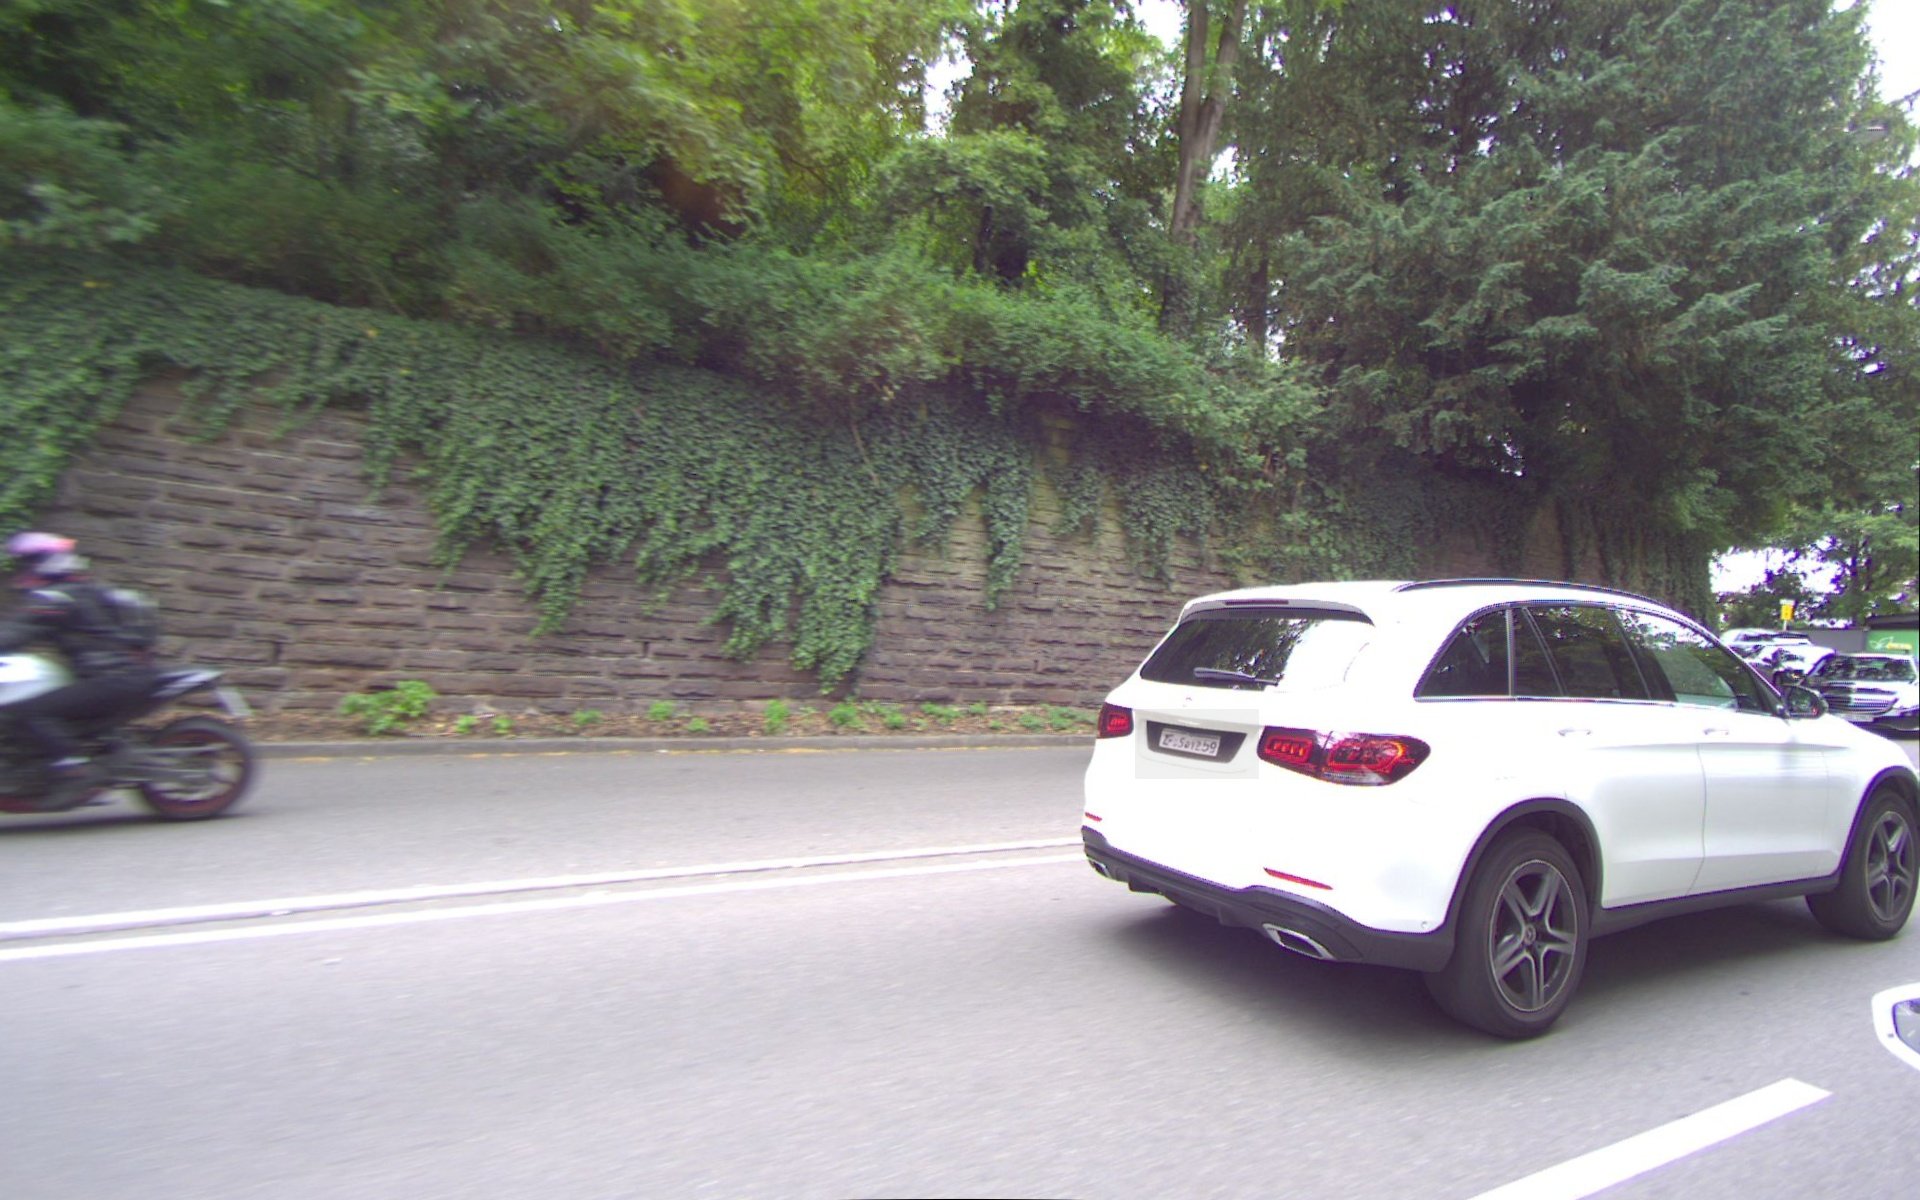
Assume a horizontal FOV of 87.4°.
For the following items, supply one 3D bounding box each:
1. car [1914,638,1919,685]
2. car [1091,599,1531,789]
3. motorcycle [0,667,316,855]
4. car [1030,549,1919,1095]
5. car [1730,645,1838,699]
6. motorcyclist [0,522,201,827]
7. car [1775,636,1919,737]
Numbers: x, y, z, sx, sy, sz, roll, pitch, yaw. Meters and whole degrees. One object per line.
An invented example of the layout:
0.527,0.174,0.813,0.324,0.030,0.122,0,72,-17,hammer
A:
31.647,1.974,30.737,1.641,1.521,4.026,0,-1,10,car
3.776,0.918,10.697,4.453,1.671,1.843,3,-1,-27,car
-5.003,0.844,5.465,2.398,0.901,0.806,3,-2,-26,motorcycle
2.793,0.770,4.949,4.615,1.627,1.851,3,-2,-29,car
22.488,1.924,27.565,1.746,1.357,3.951,-1,-3,32,car
-4.951,0.385,5.492,1.080,1.549,0.744,3,-1,-26,motorcyclist
16.754,1.520,18.418,4.589,1.618,1.848,3,-3,-38,car
